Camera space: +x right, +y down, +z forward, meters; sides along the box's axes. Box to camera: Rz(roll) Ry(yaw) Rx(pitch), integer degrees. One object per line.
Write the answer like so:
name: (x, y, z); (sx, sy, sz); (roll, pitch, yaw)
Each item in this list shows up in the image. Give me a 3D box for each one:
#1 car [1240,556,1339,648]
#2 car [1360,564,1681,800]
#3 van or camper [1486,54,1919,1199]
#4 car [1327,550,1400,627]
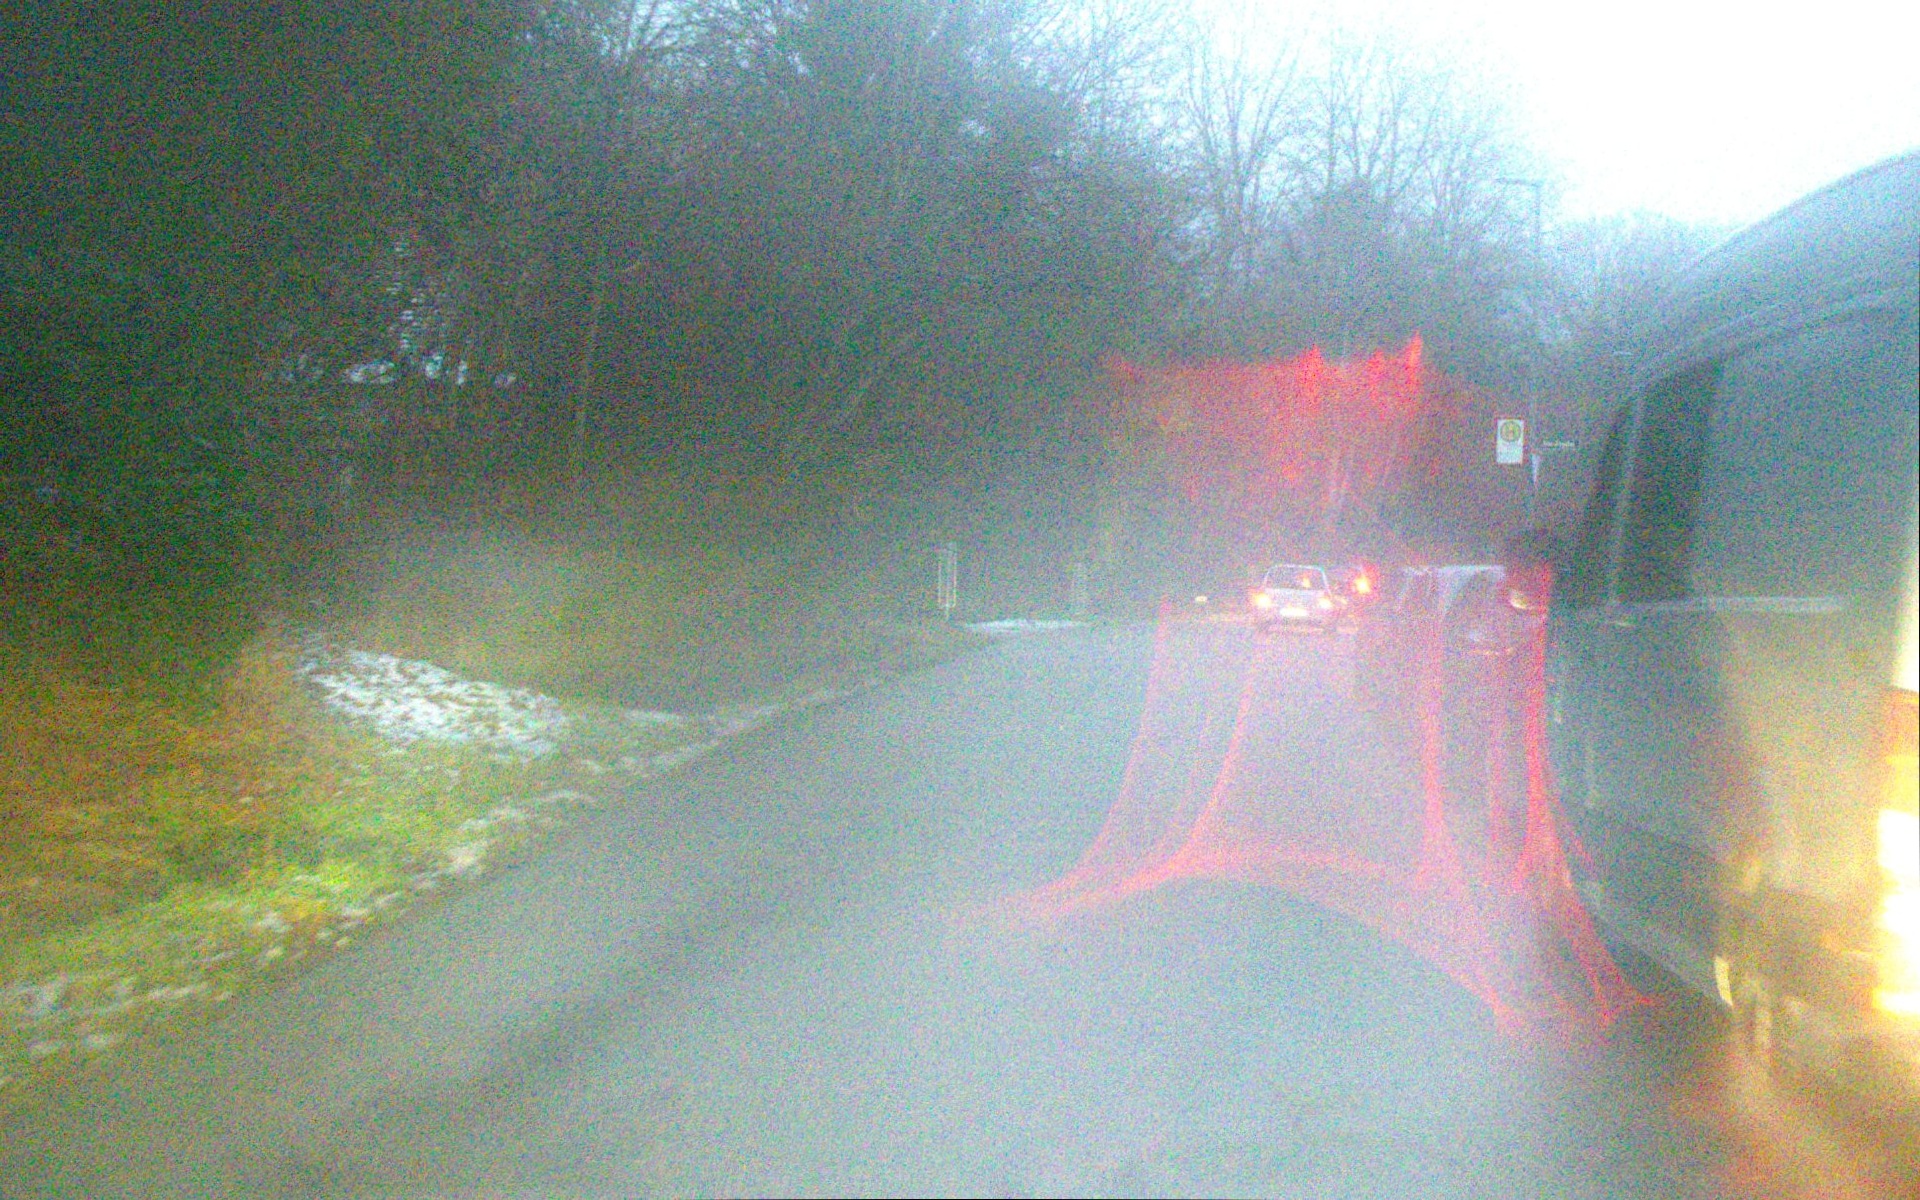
car: (6.773, 0.007, 70.687); (1.933, 1.775, 3.999); (2, 1, 5)
car: (3.667, 0.481, 23.143); (1.656, 1.385, 4.532); (2, 0, 4)
van or camper: (3.004, 0.090, 10.503); (2.014, 2.499, 6.792); (2, 1, 3)
car: (9.825, -0.300, 83.724); (1.690, 1.768, 3.860); (2, 1, 7)
